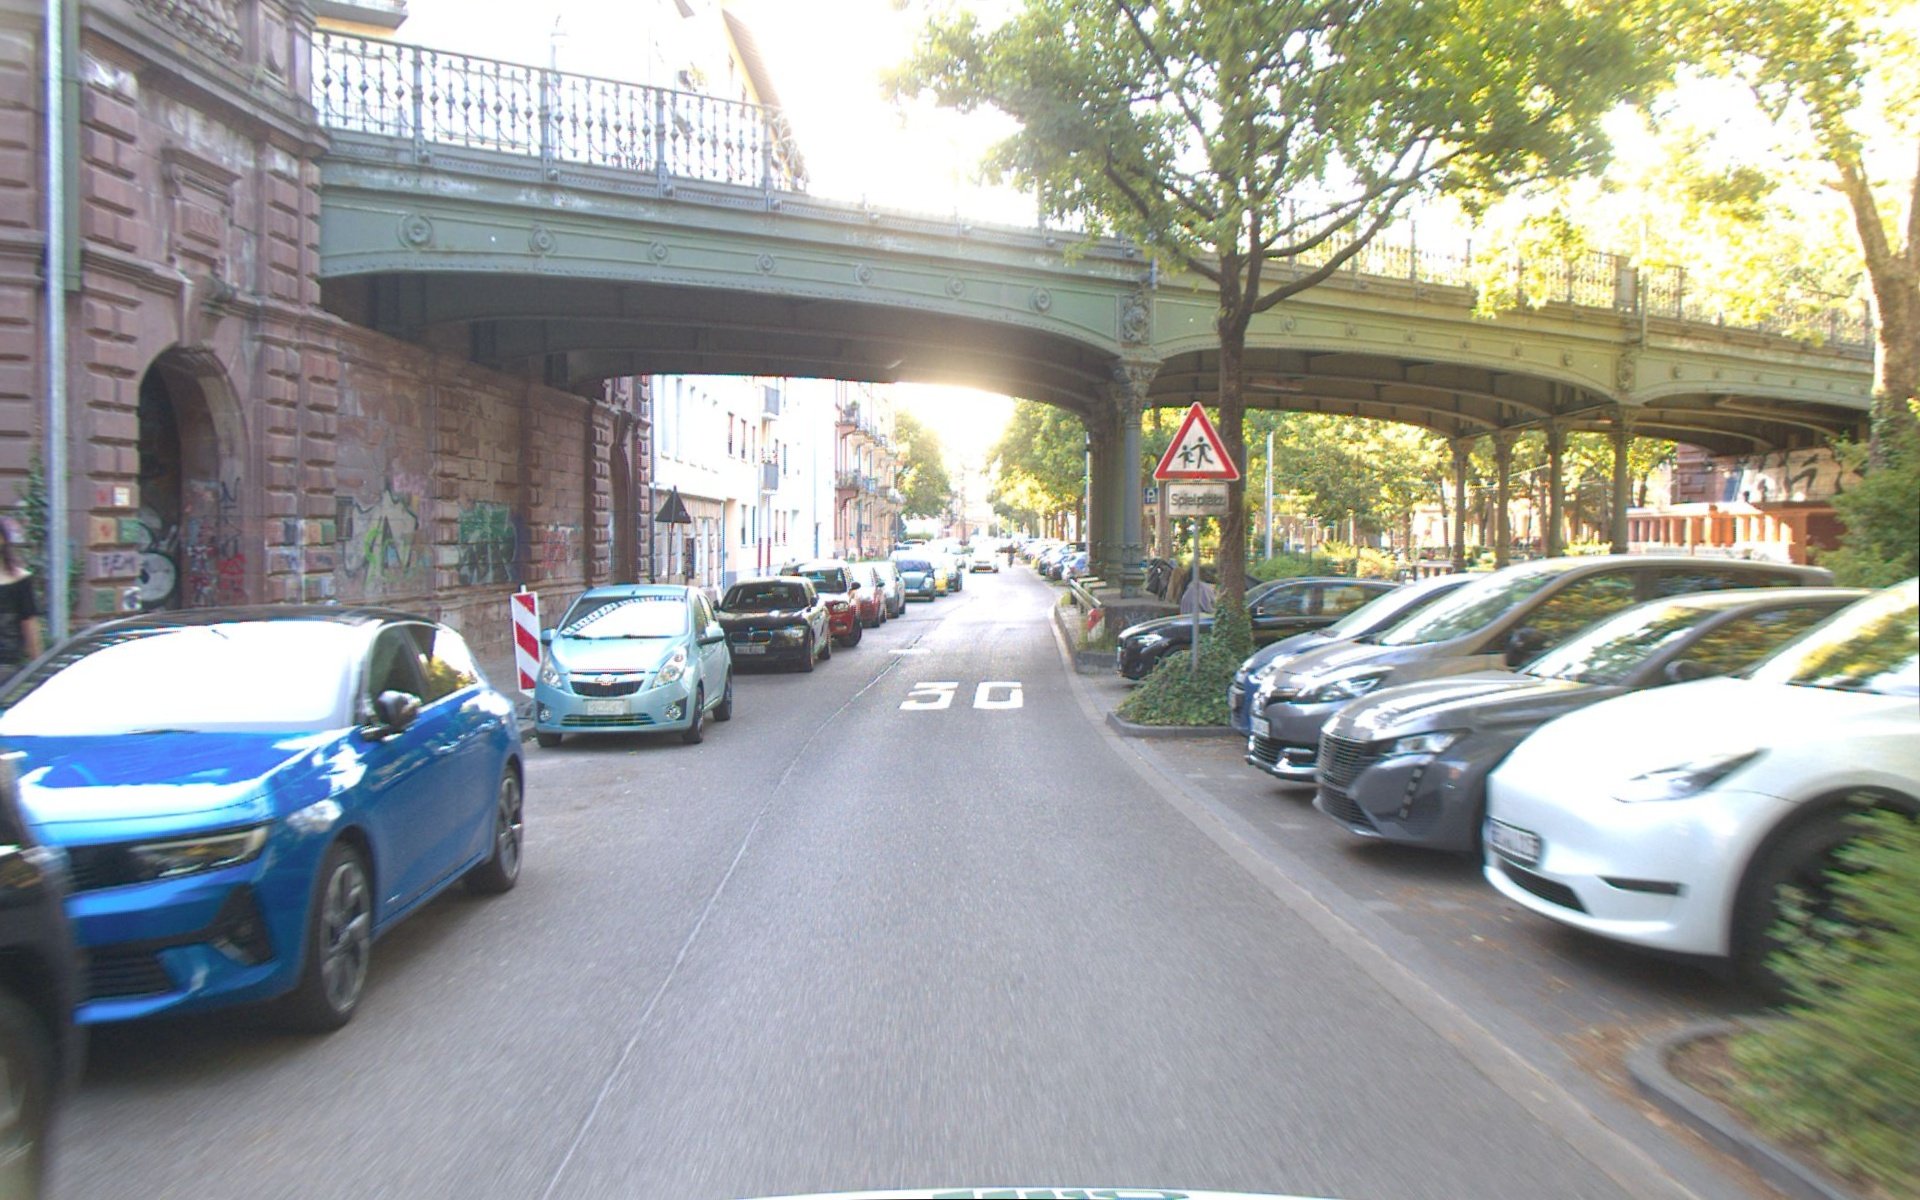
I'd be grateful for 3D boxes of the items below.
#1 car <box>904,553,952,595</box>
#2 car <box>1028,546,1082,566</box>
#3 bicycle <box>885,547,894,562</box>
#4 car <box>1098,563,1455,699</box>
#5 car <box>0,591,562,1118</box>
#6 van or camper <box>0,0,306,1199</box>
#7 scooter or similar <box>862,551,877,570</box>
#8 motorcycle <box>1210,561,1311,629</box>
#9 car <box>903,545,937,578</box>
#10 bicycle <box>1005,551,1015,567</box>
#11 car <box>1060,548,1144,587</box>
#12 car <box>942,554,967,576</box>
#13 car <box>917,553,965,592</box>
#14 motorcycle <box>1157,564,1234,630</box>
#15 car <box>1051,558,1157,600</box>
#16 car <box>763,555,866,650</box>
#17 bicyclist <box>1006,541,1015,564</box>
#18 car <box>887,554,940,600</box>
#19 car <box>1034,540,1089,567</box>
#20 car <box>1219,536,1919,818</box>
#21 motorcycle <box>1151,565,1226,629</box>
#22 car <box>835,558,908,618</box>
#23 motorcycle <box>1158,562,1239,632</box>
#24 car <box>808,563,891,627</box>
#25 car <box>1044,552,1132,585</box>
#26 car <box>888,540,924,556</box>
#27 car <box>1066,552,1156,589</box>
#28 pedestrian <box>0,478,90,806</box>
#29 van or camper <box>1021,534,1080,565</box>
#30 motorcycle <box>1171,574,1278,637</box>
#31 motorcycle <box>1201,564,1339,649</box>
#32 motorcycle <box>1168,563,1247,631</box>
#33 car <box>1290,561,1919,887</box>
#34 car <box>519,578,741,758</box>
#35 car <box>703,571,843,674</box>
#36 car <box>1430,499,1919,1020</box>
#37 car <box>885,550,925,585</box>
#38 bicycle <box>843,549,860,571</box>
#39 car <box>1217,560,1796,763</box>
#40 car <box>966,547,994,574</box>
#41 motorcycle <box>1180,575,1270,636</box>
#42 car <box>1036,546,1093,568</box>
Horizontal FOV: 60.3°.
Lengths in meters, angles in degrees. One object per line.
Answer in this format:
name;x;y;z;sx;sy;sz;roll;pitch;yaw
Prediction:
car;-1.190;-1.005;62.447;1.667;1.551;3.774;0;2;1
car;7.423;-3.447;129.422;4.131;1.478;1.650;-1;2;5
bicycle;-5.833;-3.762;137.266;0.690;1.167;1.889;1;0;-2
car;4.026;0.379;21.500;4.285;1.605;1.674;1;0;-1
car;-2.991;0.736;6.987;1.710;1.492;4.373;1;0;-3
van or camper;-2.740;0.157;1.125;2.191;2.567;6.419;1;0;-2
scooter or similar;-6.235;-2.713;114.195;0.767;1.243;2.704;1;0;1
motorcycle;5.215;-0.083;28.706;1.705;1.152;0.704;1;0;-34
car;-2.210;-2.172;93.072;1.716;1.735;4.202;1;2;1
bicycle;3.647;-2.980;120.390;0.628;1.119;1.944;1;0;0
car;6.407;-1.469;74.921;3.703;1.675;1.665;-1;0;2
car;-0.371;-2.451;116.442;1.472;1.459;2.755;-1;2;6
car;-0.757;-1.146;67.309;1.703;1.505;4.002;-1;2;2
motorcycle;5.332;-0.076;37.400;1.567;1.433;0.712;1;0;21
car;5.126;-0.739;59.195;3.703;1.426;1.828;-1;0;2
car;-2.827;-0.011;32.846;1.682;1.737;4.323;-1;1;-1
bicyclist;3.654;-3.469;120.456;0.615;1.600;0.802;1;0;0
car;-1.563;-0.821;57.087;1.534;1.544;3.784;0;2;3
car;7.654;-3.496;125.096;4.132;1.896;1.762;-1;2;2
car;4.160;0.504;11.666;4.287;1.738;1.906;1;0;-3
motorcycle;5.295;-0.083;38.270;1.567;1.433;0.712;1;0;21
car;-2.396;-0.371;45.433;1.603;1.492;4.002;-3;2;2
motorcycle;5.098;-0.066;35.391;1.567;1.433;0.712;1;0;21
car;-2.638;-0.167;40.386;1.654;1.466;4.001;0;2;1
car;6.364;-1.554;82.173;4.307;1.605;1.665;-1;0;3
car;-6.150;-5.909;188.976;3.904;1.735;2.001;1;0;2
car;6.344;-1.222;69.348;3.701;1.472;1.665;-1;0;6
pedestrian;-6.006;0.240;10.325;0.625;1.947;1.046;1;0;-5
van or camper;7.740;-4.329;142.070;4.880;2.418;2.185;1;0;-1
motorcycle;4.966;0.103;31.099;1.806;1.152;0.845;1;0;-23
motorcycle;4.753;0.104;25.360;1.904;1.259;0.898;1;0;-24
motorcycle;5.429;-0.065;36.201;1.567;1.433;0.712;1;0;21
car;4.170;0.628;9.154;4.285;1.559;1.876;1;0;-1
car;-3.264;0.595;17.017;1.562;1.574;3.914;-1;1;-2
car;-2.958;0.300;26.934;1.681;1.489;4.002;-1;2;2
car;4.362;0.569;6.539;4.440;1.725;1.907;1;0;-1
car;-2.576;-1.554;78.131;1.634;1.534;4.001;3;2;1
bicycle;-6.283;-2.319;96.175;0.721;1.227;2.515;1;3;2
car;4.552;0.483;14.328;4.489;1.634;1.736;0;0;5
car;1.295;-2.490;103.464;1.634;1.455;4.002;-2;3;2
motorcycle;5.191;0.098;32.378;1.574;1.152;0.709;1;0;-16
car;7.565;-3.092;119.799;3.999;1.467;1.761;-2;2;-2
